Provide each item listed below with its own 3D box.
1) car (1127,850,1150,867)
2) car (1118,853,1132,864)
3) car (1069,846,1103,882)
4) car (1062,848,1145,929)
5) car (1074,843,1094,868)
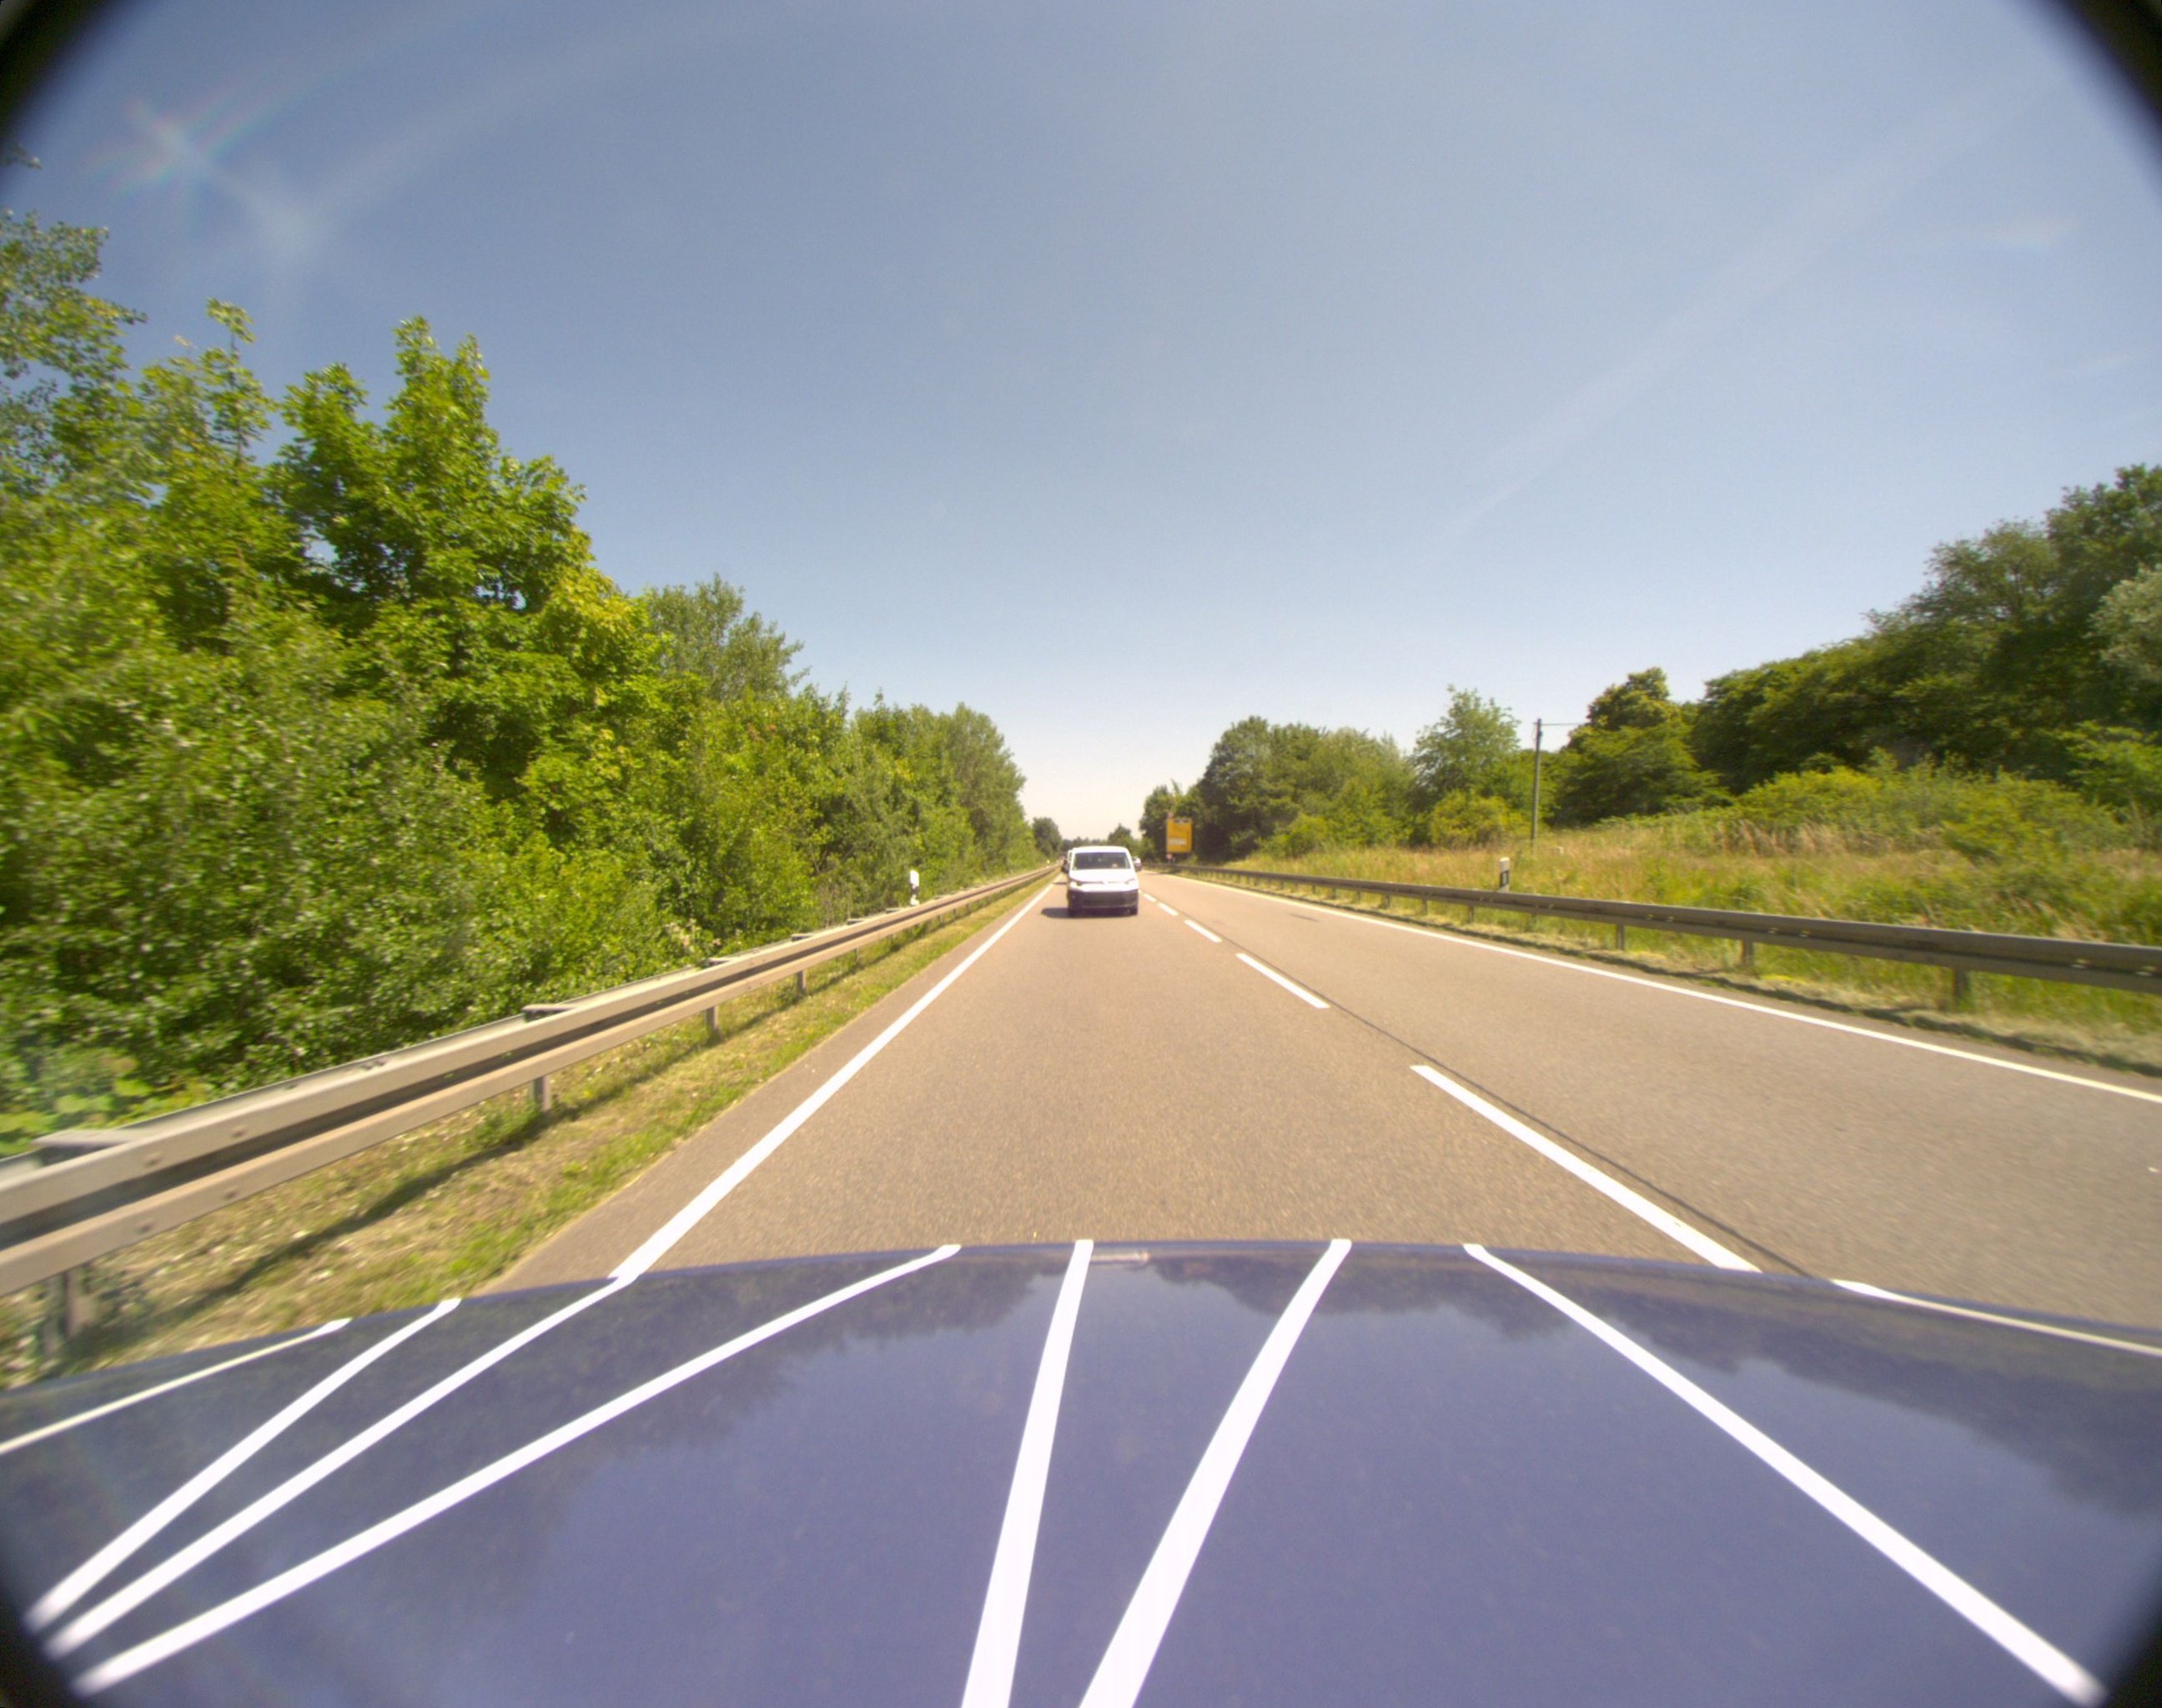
[{"bbox_3d":[5.951,0.462,78.989,1.998,1.622,3.999,-2,1,0],"label":"car"},{"bbox_3d":[7.103,0.671,122.574,1.998,1.622,3.999,-2,1,0],"label":"car"},{"bbox_3d":[0.306,0.543,44.234,1.782,1.960,4.105,-2,1,1],"label":"car"},{"bbox_3d":[0.526,0.743,18.995,1.782,1.743,4.512,-2,1,1],"label":"car"},{"bbox_3d":[0.305,0.102,73.030,1.782,2.287,4.105,-2,1,1],"label":"car"}]
